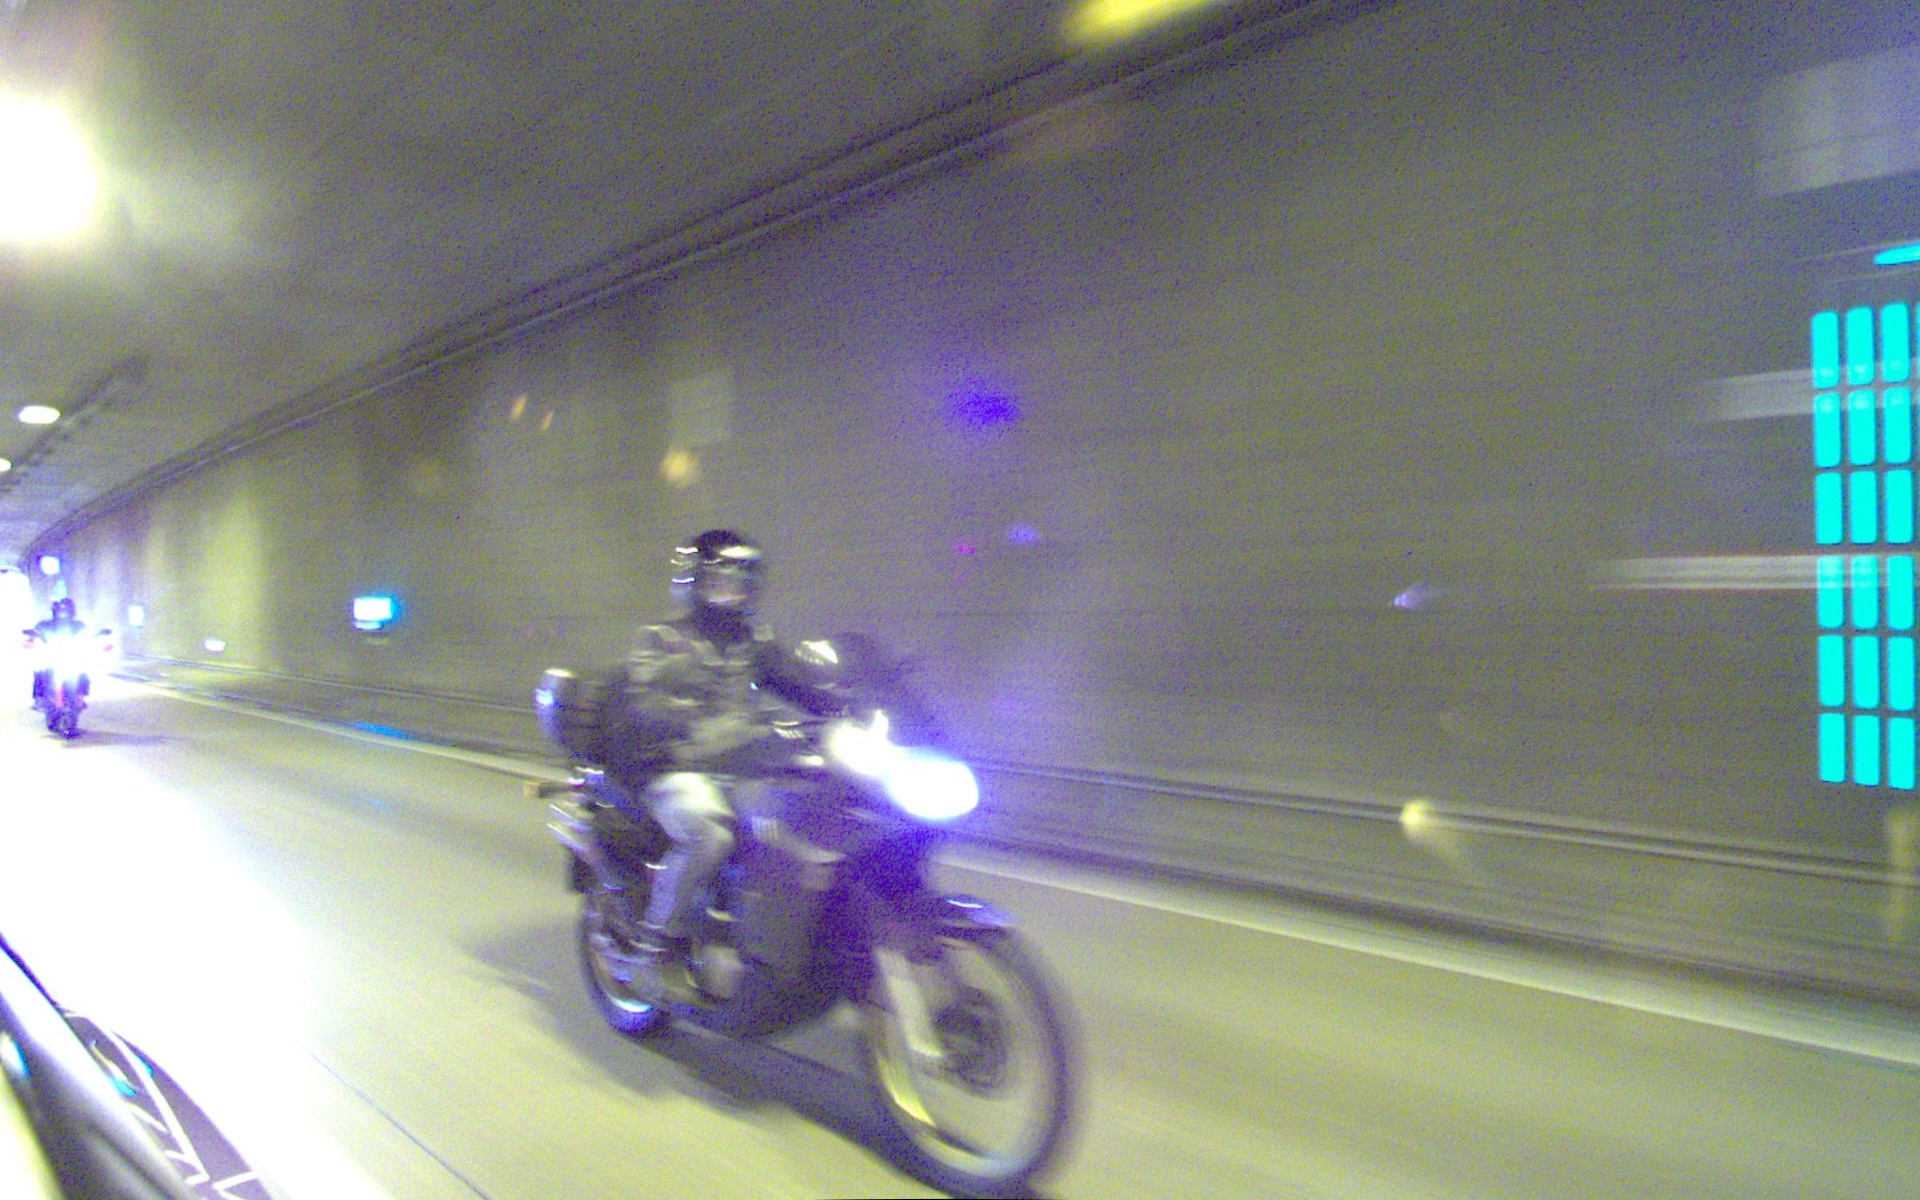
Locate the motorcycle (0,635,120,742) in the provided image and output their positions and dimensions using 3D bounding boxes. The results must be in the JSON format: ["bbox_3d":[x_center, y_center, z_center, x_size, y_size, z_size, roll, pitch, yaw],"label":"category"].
[{"bbox_3d":[-11.464,1.059,12.784,2.428,1.166,1.041,-1,-1,44],"label":"motorcycle"}]

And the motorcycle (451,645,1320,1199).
[{"bbox_3d":[-0.438,0.781,2.866,2.602,1.255,0.837,-2,-1,40],"label":"motorcycle"}]

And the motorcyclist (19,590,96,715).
[{"bbox_3d":[-11.373,0.638,12.747,0.890,1.500,0.620,-1,-1,41],"label":"motorcyclist"}]

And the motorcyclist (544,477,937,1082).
[{"bbox_3d":[-0.660,0.445,3.081,0.821,1.488,0.830,-1,-1,40],"label":"motorcyclist"}]

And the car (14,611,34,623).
[{"bbox_3d":[-143.972,2.584,155.734,1.968,1.812,4.008,-2,1,-39],"label":"car"}]
